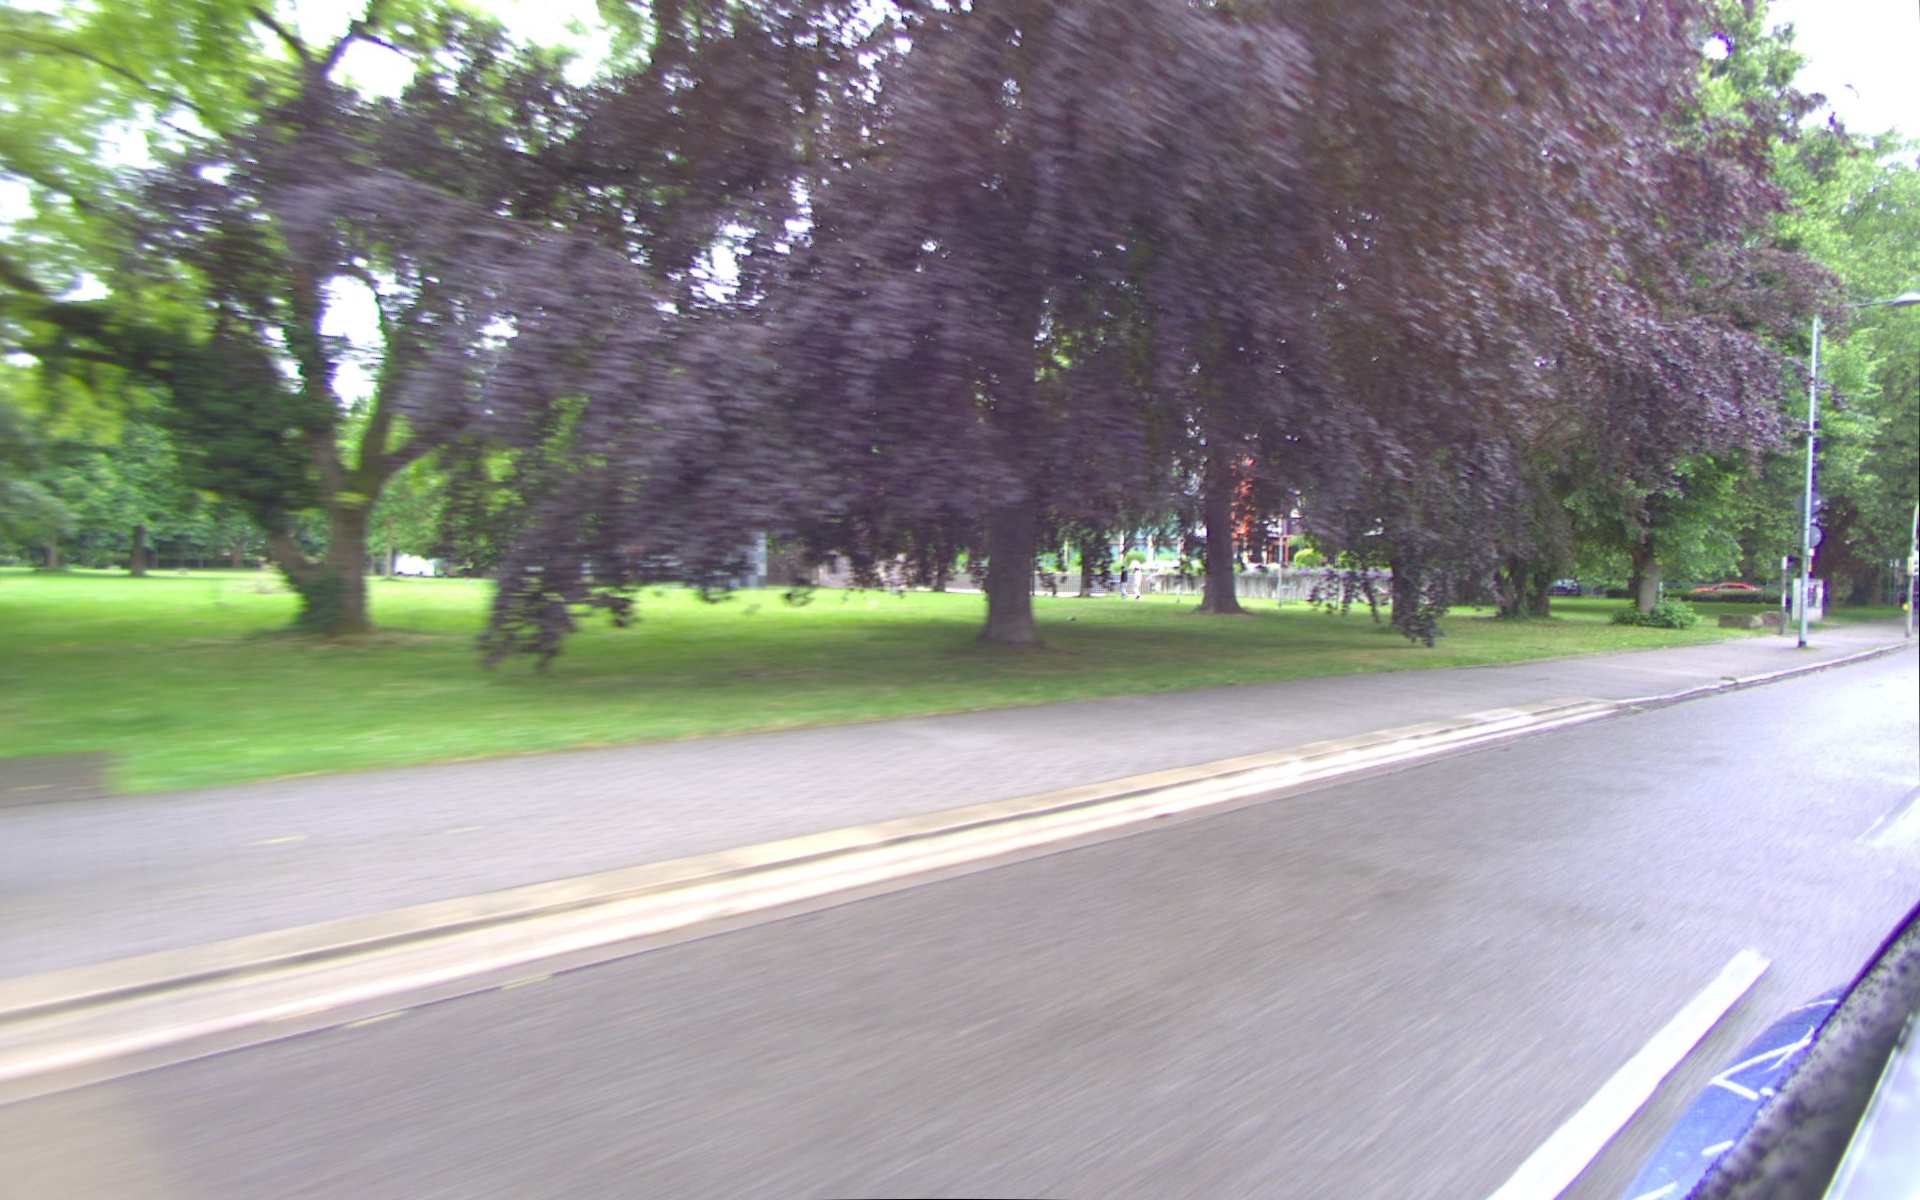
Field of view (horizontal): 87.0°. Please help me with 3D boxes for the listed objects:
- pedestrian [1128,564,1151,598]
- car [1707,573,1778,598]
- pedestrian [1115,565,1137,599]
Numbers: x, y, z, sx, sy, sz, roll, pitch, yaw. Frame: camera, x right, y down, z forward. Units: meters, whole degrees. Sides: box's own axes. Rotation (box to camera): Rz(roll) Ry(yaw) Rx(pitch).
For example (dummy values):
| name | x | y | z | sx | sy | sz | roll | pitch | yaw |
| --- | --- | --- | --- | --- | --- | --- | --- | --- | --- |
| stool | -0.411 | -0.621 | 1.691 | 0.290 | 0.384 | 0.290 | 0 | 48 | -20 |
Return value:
| name | x | y | z | sx | sy | sz | roll | pitch | yaw |
| --- | --- | --- | --- | --- | --- | --- | --- | --- | --- |
| pedestrian | 9.580 | -0.988 | 54.068 | 0.838 | 1.785 | 0.865 | -2 | -1 | 44 |
| car | 59.357 | -1.094 | 76.784 | 1.966 | 1.737 | 3.992 | 0 | 3 | -43 |
| pedestrian | 8.772 | -0.960 | 53.465 | 0.838 | 1.785 | 0.760 | -2 | -1 | 44 |
